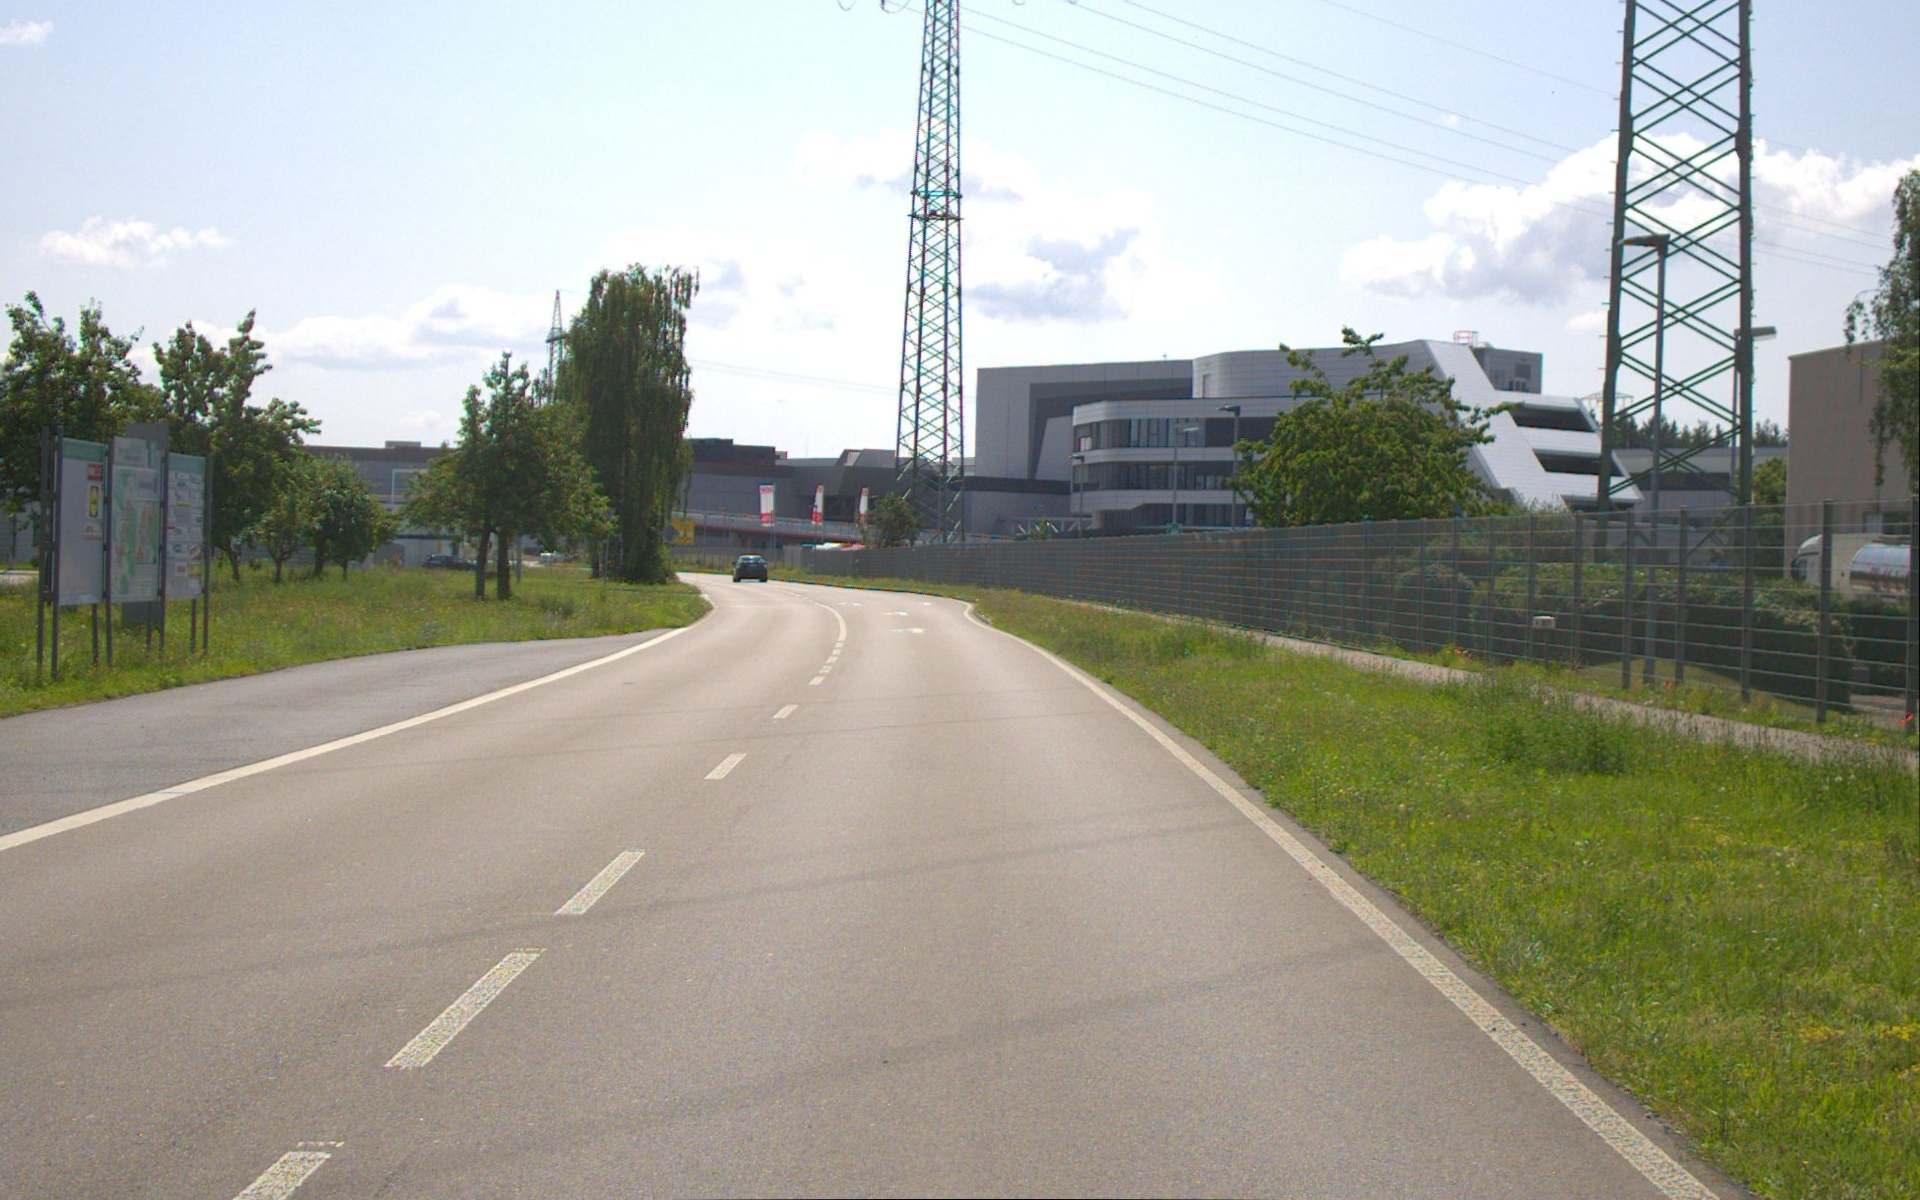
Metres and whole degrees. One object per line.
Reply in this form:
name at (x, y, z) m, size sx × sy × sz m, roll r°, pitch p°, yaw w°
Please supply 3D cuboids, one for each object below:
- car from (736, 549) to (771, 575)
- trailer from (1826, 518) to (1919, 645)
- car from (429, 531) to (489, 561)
car at (-12.017, -2.209, 199.556) m, size 2.012 × 1.503 × 4.001 m, roll 0°, pitch 0°, yaw -4°
trailer at (29.878, -0.546, 102.500) m, size 3.589 × 3.722 × 12.241 m, roll 1°, pitch 1°, yaw -7°
car at (-34.722, -3.725, 238.136) m, size 3.986 × 1.569 × 2.000 m, roll 5°, pitch -3°, yaw -8°
